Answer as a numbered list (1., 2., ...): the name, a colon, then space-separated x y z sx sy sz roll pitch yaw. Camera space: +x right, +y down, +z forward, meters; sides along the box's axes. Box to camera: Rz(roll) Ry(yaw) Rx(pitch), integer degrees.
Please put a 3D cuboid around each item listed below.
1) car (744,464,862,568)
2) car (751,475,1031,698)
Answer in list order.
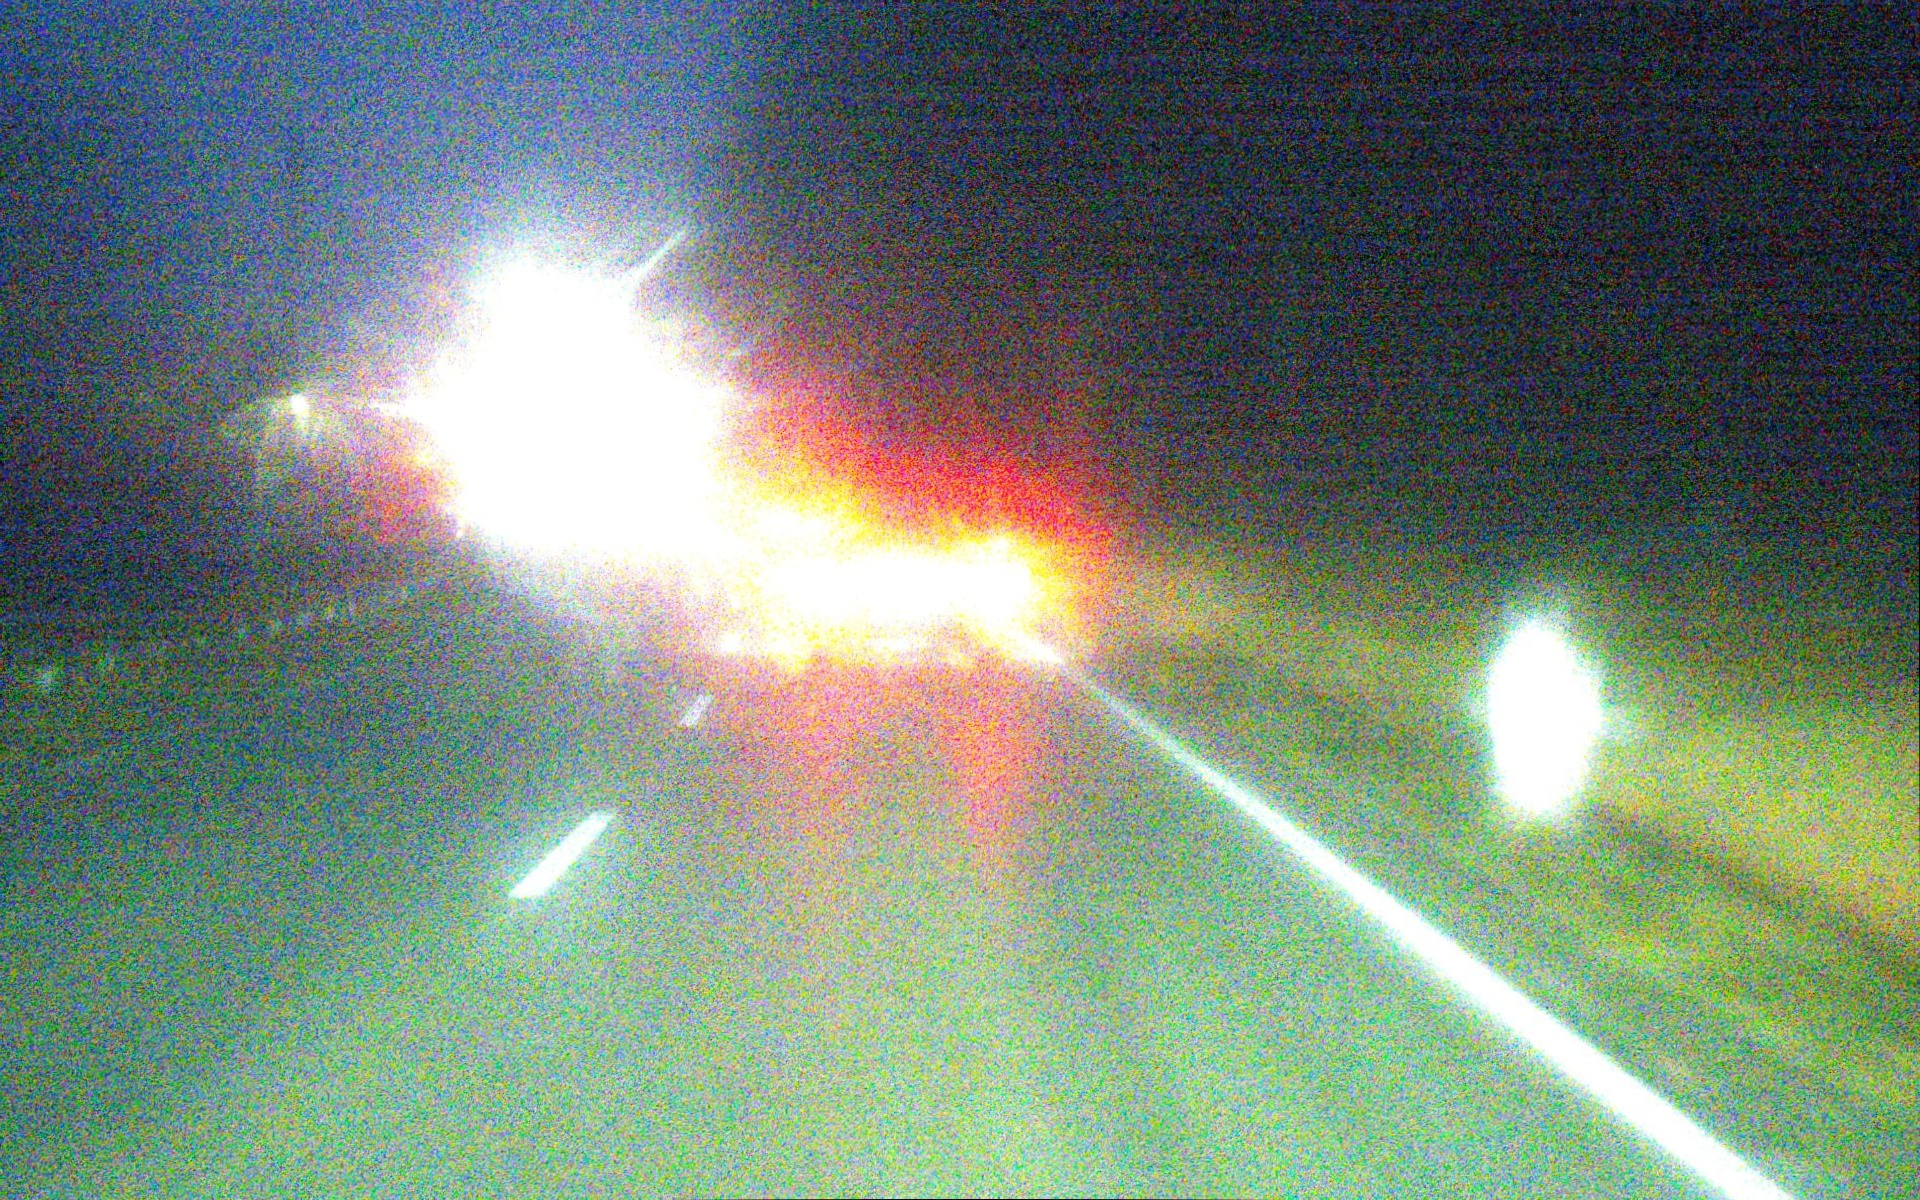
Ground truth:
1. car: -3.277 -1.759 71.027 1.993 2.006 4.001 2 2 -8
2. car: -0.568 -0.164 32.887 2.458 1.952 4.912 1 1 1
